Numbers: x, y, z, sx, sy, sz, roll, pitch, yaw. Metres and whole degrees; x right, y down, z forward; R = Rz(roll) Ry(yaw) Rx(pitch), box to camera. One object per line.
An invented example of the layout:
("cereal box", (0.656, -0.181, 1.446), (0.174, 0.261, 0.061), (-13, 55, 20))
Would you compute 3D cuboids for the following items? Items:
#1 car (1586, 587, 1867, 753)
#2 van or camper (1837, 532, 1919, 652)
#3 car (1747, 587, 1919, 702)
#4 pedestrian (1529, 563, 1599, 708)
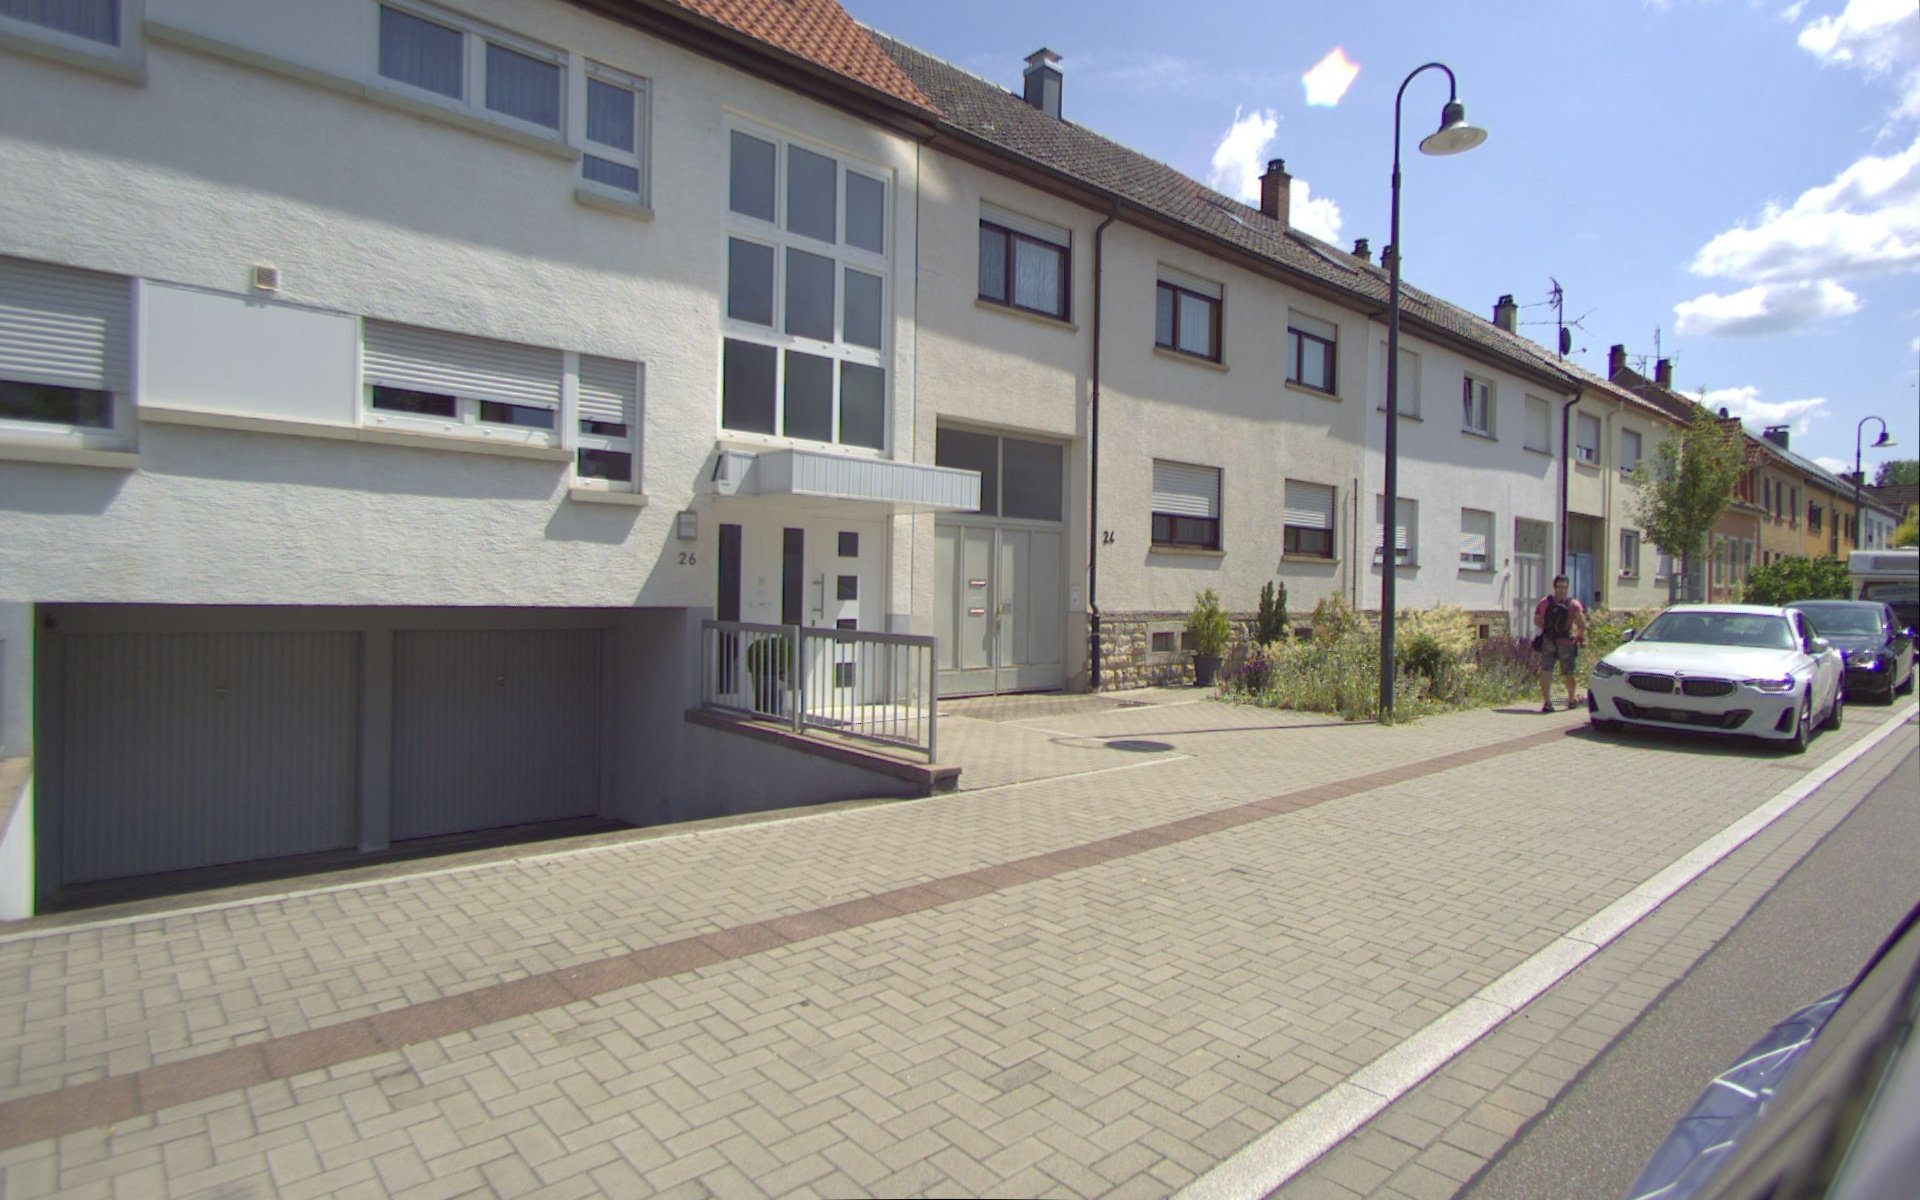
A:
("car", (8.702, 0.605, 11.333), (4.444, 1.484, 1.834), (-1, 1, -44))
("van or camper", (24.723, -0.202, 26.056), (5.690, 2.845, 2.477), (0, 2, -42))
("car", (13.814, 0.586, 15.755), (3.938, 1.549, 1.770), (0, 1, -41))
("pedestrian", (7.610, 0.424, 12.756), (0.661, 1.770, 0.558), (-1, 2, -41))
